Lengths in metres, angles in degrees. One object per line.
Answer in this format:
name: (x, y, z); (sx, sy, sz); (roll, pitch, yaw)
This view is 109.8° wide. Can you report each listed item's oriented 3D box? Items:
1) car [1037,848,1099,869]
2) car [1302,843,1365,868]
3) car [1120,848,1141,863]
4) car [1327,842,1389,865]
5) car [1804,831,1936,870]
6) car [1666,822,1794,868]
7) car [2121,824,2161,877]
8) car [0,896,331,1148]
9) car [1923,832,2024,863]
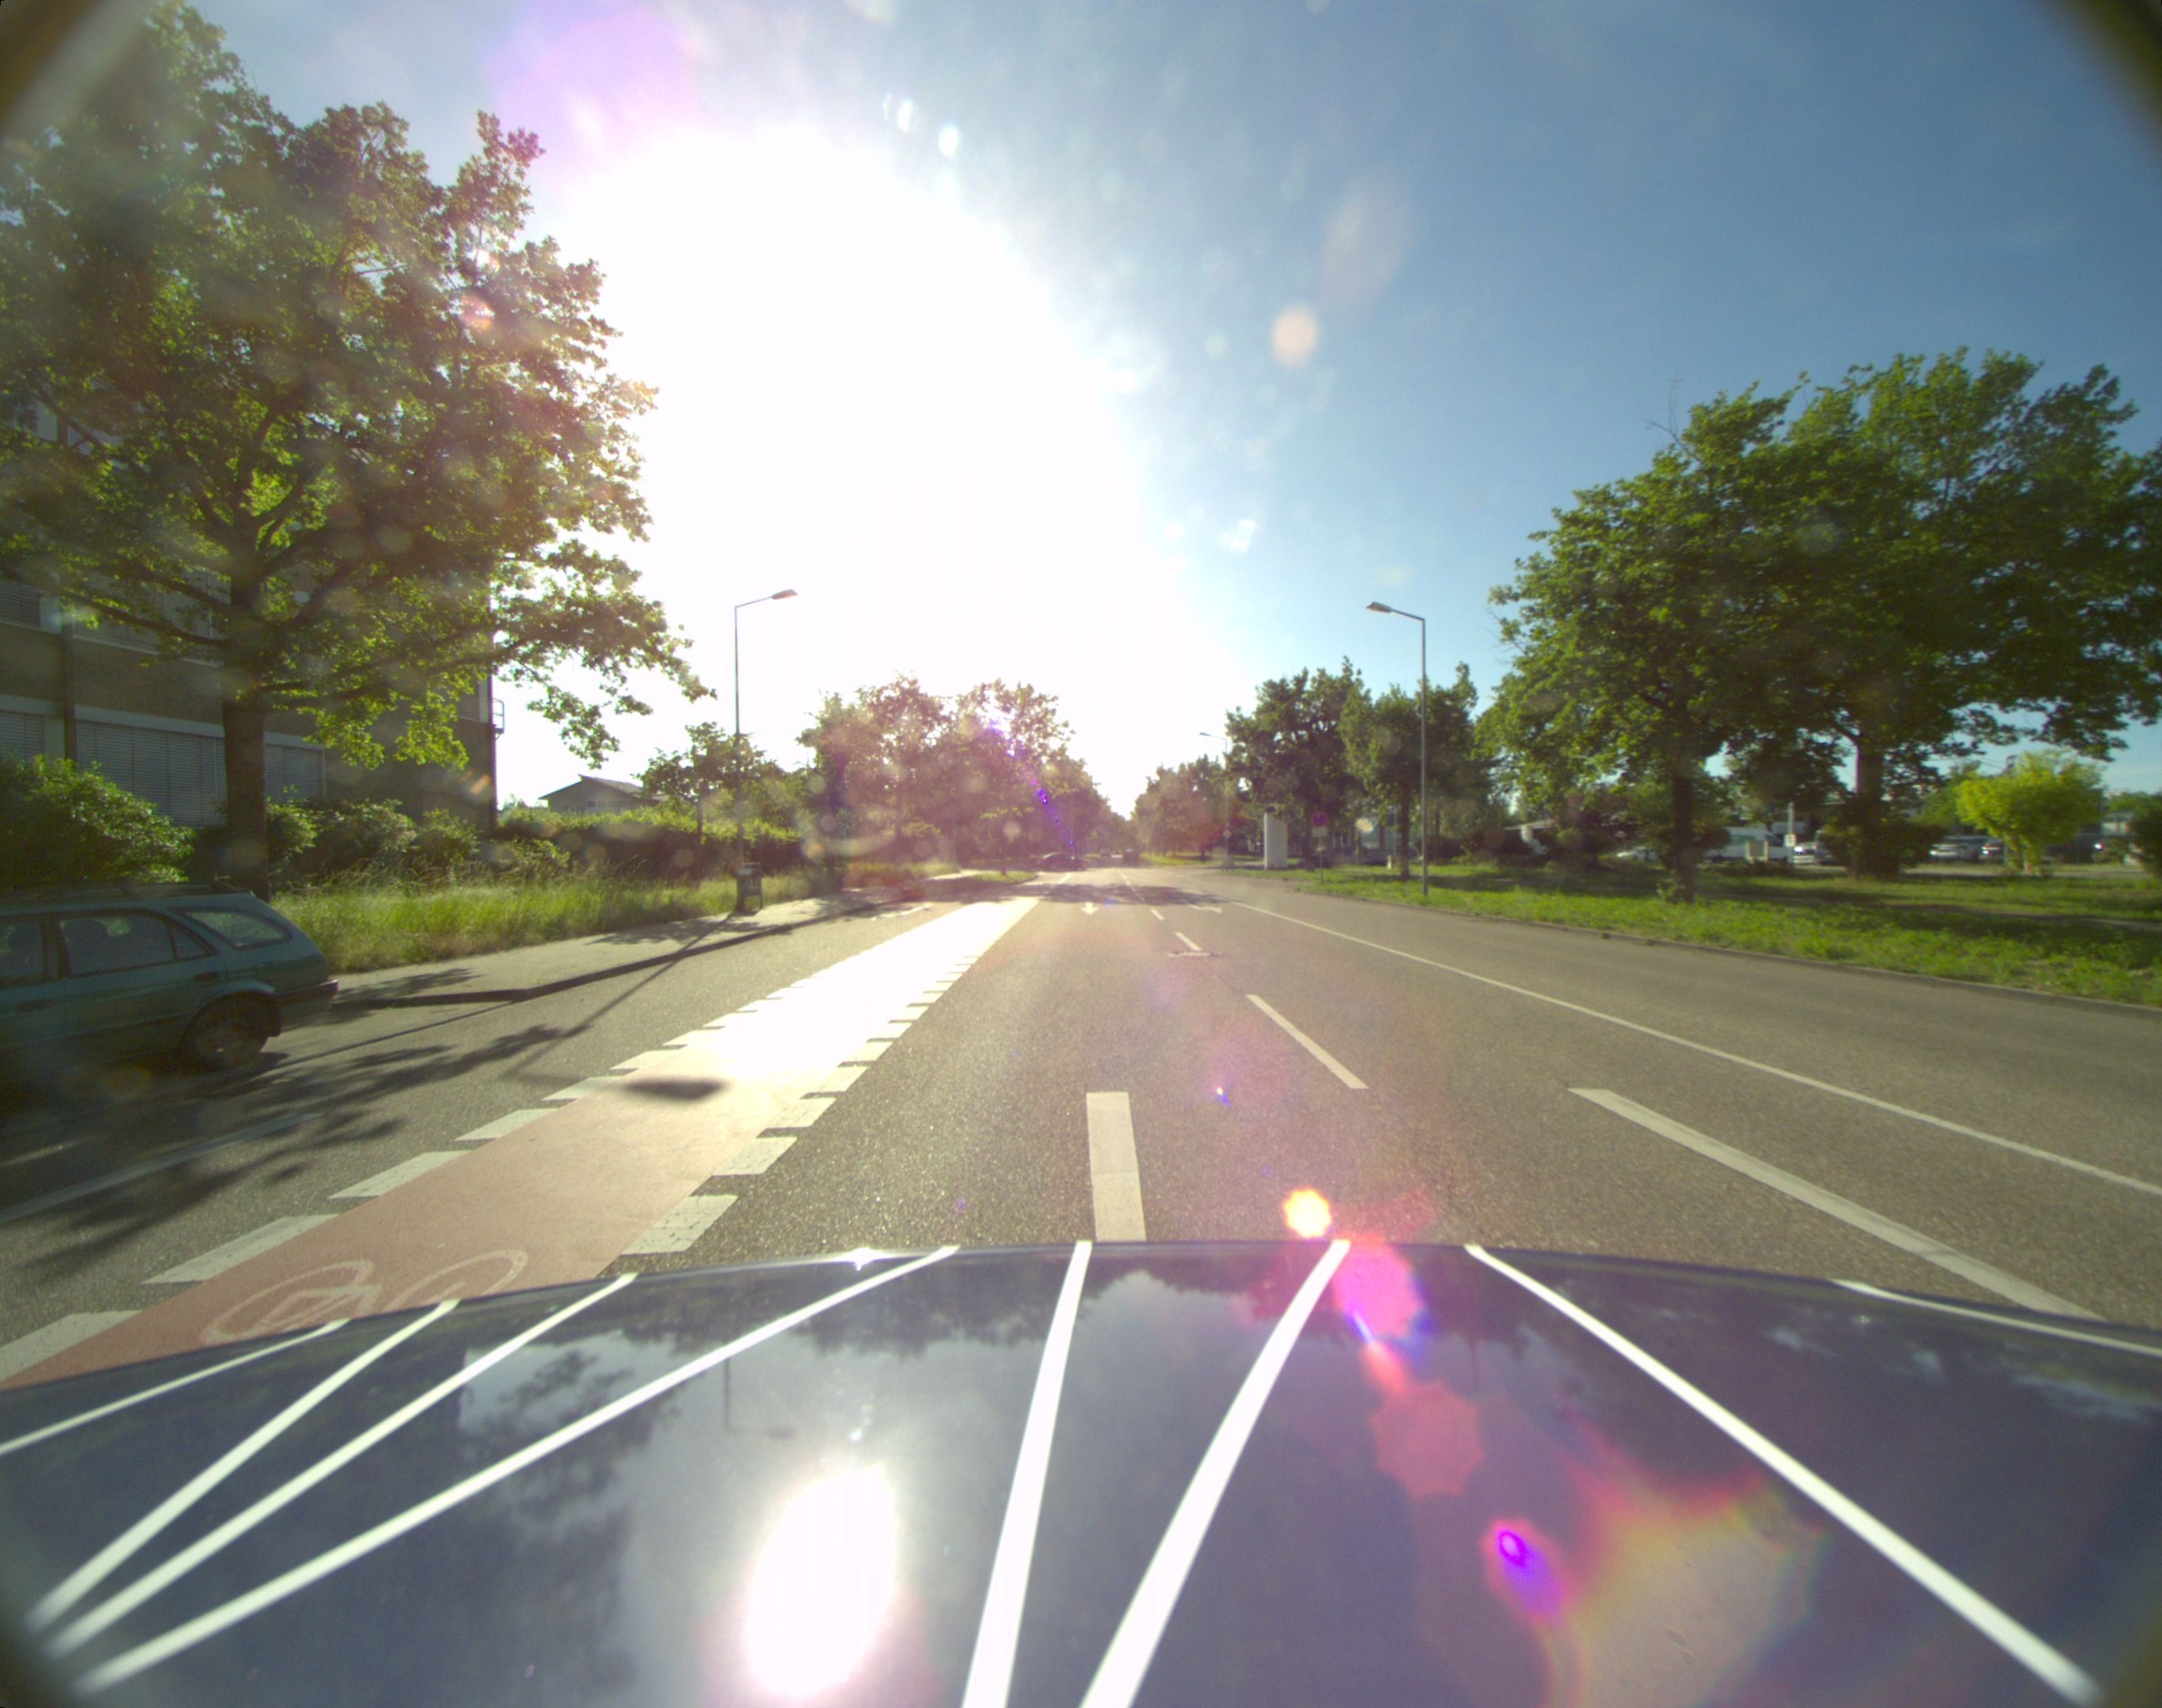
car: (-1.037, 0.351, 59.773); (4.492, 1.510, 1.893); (-1, 2, -19)
car: (20.882, 0.108, 62.937); (4.463, 1.822, 2.000); (-2, 1, 1)
car: (5.301, 0.099, 81.707); (1.768, 1.517, 4.078); (1, 1, -4)
car: (23.929, -0.054, 65.811); (4.637, 1.822, 2.000); (-2, 1, 0)
car: (40.062, -0.175, 38.662); (4.642, 1.771, 1.990); (-2, 1, 0)
car: (39.901, -0.556, 46.836); (6.023, 2.540, 2.409); (-2, 1, -4)
car: (33.889, -0.171, 22.482); (3.817, 1.562, 1.735); (-2, 0, 0)
car: (-7.525, 1.088, 4.669); (1.706, 1.460, 4.141); (0, 0, 0)
car: (52.090, -0.393, 44.400); (3.860, 1.662, 1.762); (-2, 1, 0)
